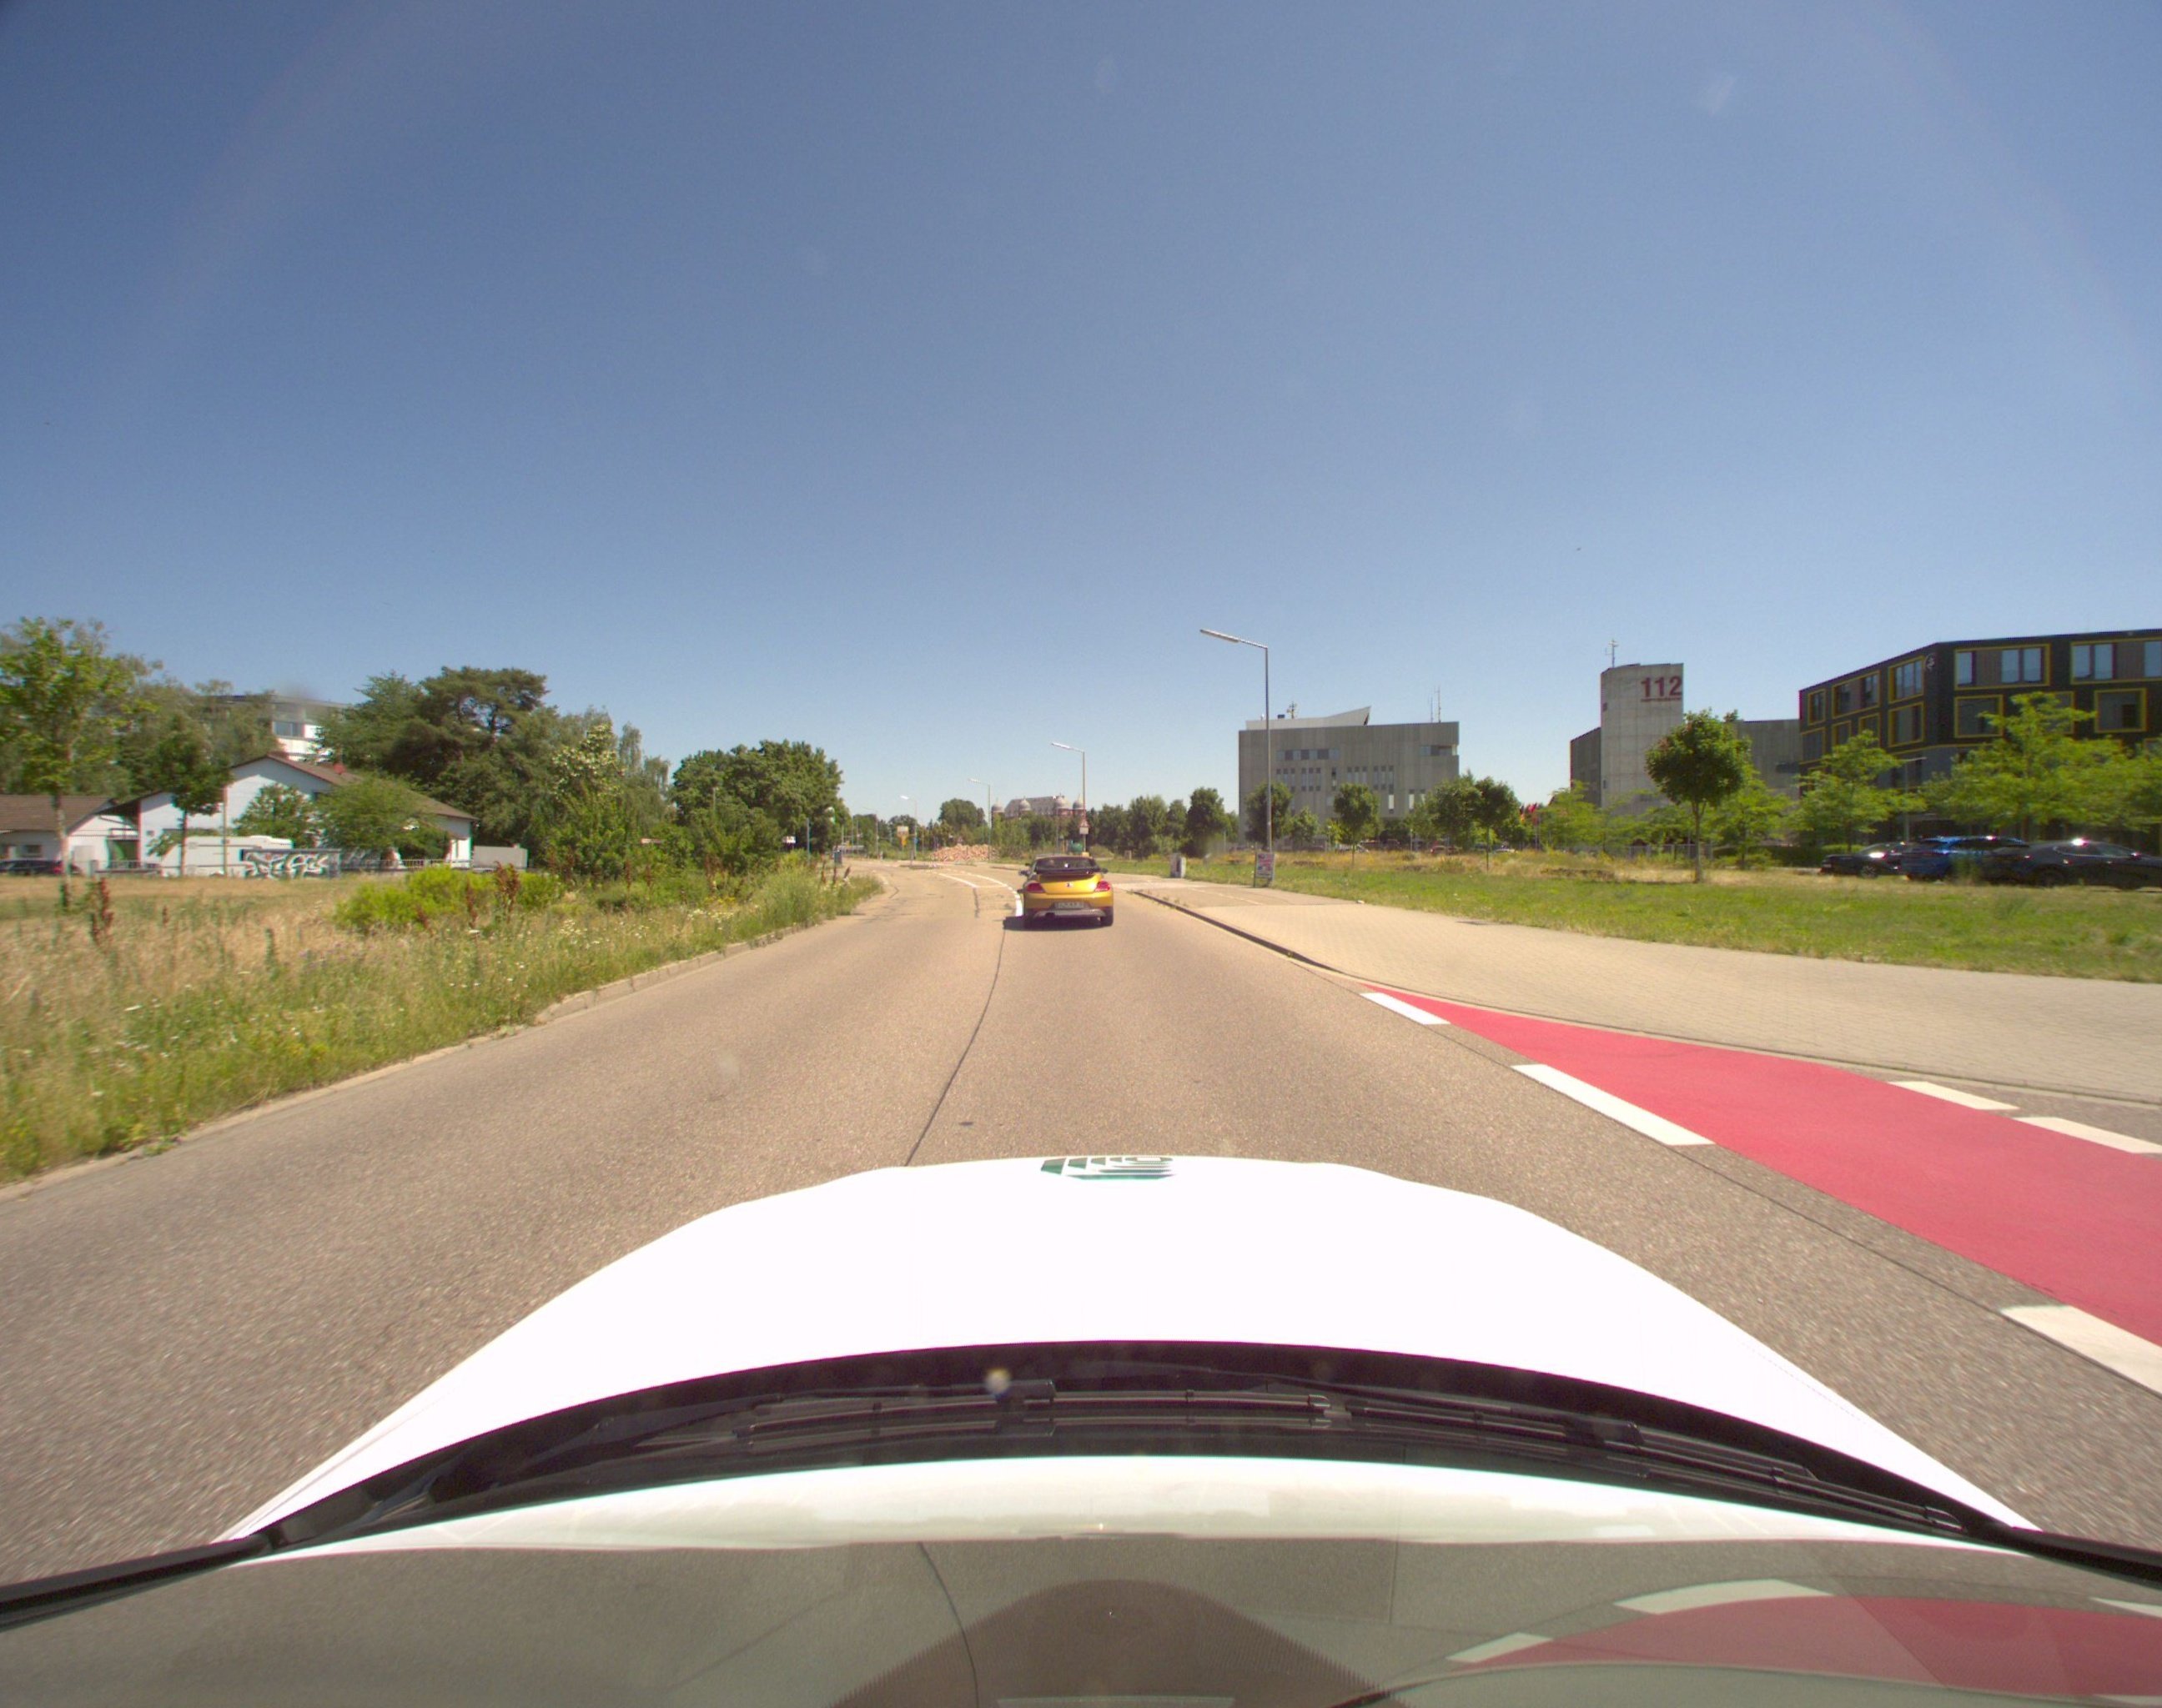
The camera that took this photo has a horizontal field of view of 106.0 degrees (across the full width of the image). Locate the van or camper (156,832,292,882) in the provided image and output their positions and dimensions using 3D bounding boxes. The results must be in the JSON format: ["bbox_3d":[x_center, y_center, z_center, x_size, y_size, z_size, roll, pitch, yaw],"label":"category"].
[{"bbox_3d":[-47.029,0.194,44.860,4.471,2.591,2.473,2,-1,-23],"label":"van or camper"}]

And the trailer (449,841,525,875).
[{"bbox_3d":[-36.529,0.228,50.190,3.428,2.045,1.747,-1,0,-23],"label":"trailer"}]

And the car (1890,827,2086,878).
[{"bbox_3d":[30.508,-0.046,27.555,4.026,1.652,1.963,0,0,17],"label":"car"}]

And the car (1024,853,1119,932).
[{"bbox_3d":[-0.306,0.725,17.387,1.786,1.436,3.808,0,1,-4],"label":"car"}]

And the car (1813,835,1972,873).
[{"bbox_3d":[32.062,-0.006,32.320,4.086,1.444,1.968,0,0,11],"label":"car"}]

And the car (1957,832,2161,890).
[{"bbox_3d":[28.581,0.195,23.262,4.459,1.562,2.041,0,0,16],"label":"car"}]

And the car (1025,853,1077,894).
[{"bbox_3d":[-1.197,0.678,30.877,1.724,1.443,3.992,0,0,-6],"label":"car"}]

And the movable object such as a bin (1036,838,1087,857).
[{"bbox_3d":[-3.507,-1.125,141.730,4.965,3.260,10.380,0,0,-26],"label":"movable object such as a bin"}]

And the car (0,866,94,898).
[{"bbox_3d":[-54.053,1.437,41.701,4.001,1.552,1.902,-1,0,-21],"label":"car"}]

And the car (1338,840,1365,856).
[{"bbox_3d":[40.356,-0.933,121.399,3.811,2.294,1.750,0,0,18],"label":"car"}]
